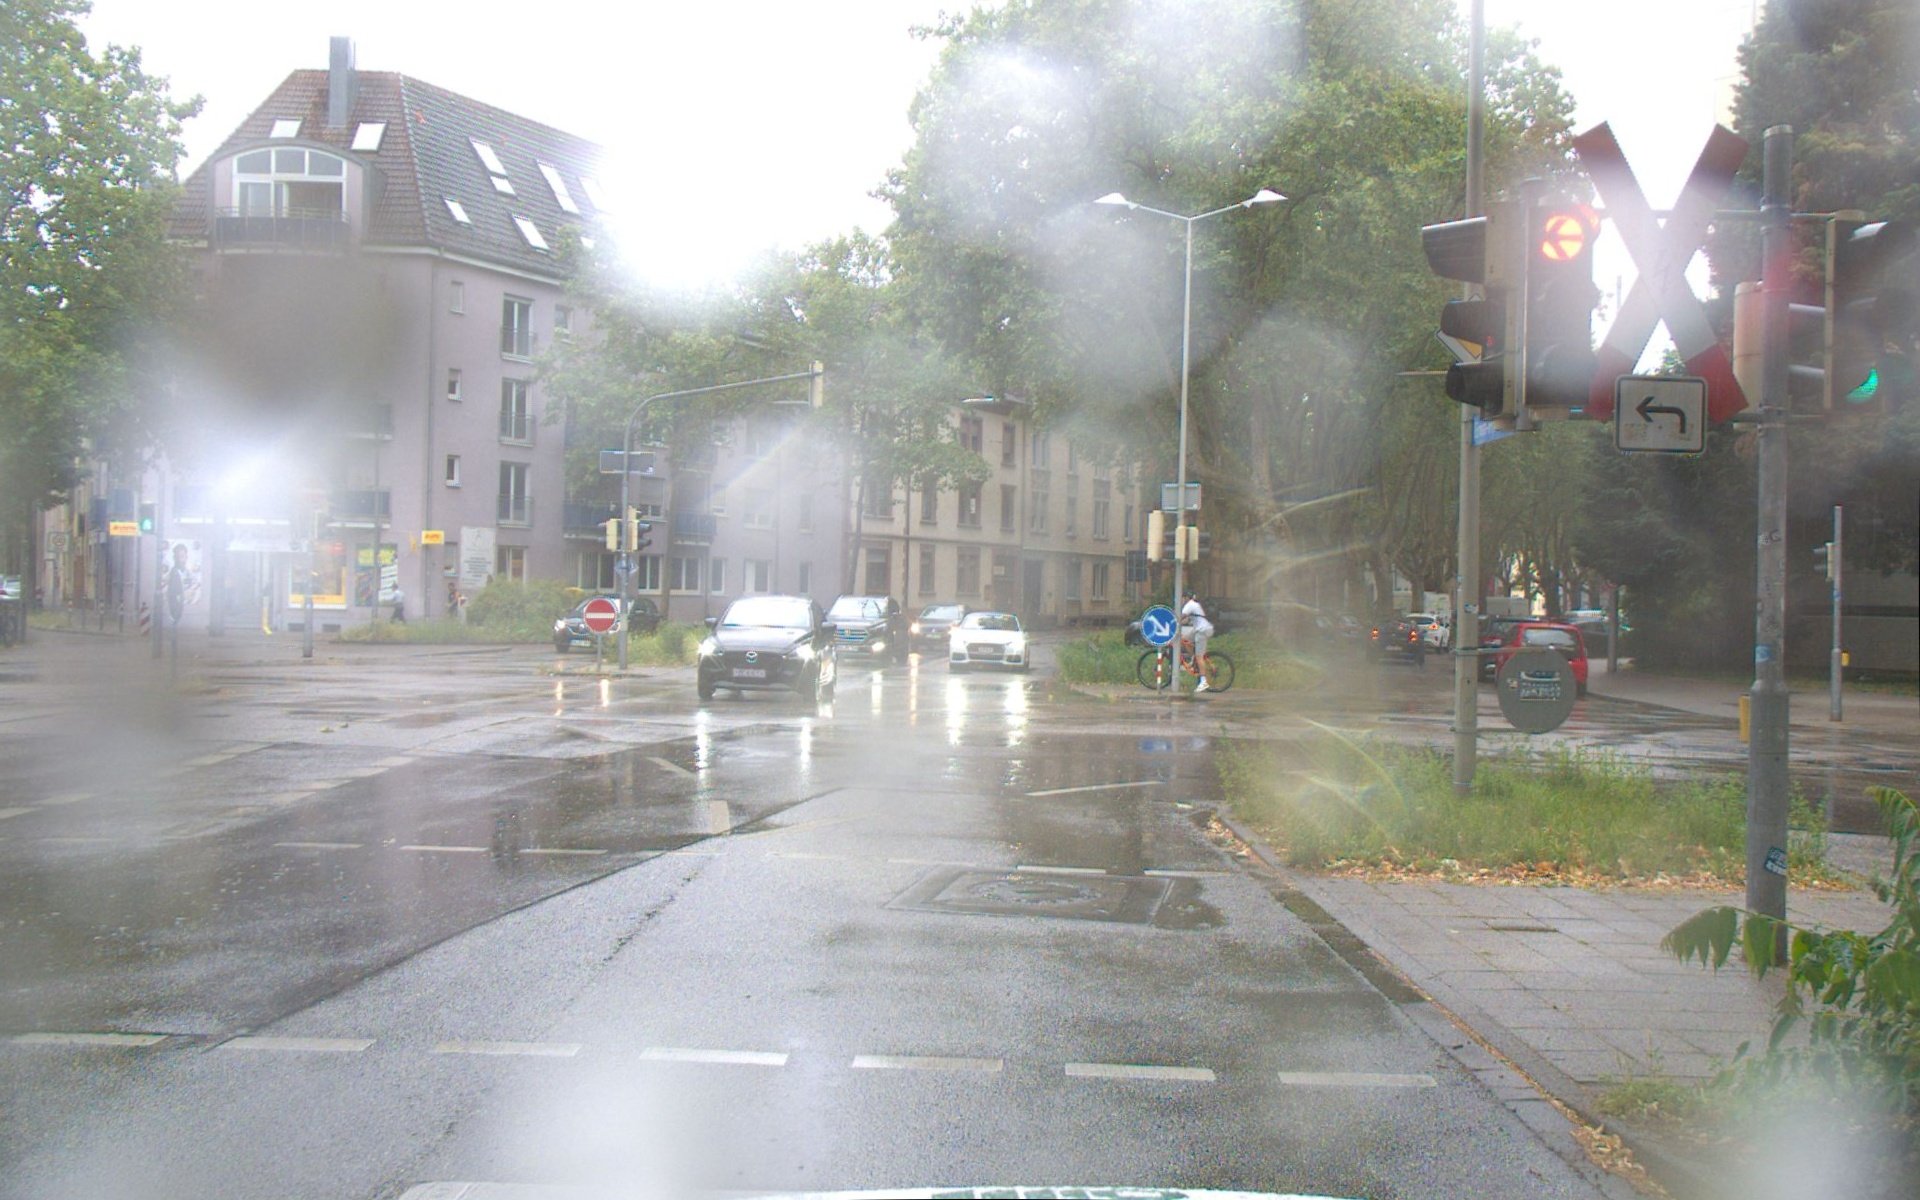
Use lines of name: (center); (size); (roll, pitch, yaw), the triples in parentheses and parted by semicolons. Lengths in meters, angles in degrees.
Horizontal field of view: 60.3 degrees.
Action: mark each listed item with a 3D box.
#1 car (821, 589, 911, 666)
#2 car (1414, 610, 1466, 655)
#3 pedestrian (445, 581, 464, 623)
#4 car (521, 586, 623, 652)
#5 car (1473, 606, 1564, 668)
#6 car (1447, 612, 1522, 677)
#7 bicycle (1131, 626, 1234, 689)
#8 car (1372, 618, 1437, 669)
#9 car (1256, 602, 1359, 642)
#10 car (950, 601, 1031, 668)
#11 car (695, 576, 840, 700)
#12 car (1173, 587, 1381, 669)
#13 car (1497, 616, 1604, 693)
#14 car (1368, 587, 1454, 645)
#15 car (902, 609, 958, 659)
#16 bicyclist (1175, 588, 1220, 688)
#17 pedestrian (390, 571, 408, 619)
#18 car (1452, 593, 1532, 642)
car: (-2.220, 0.621, 40.136); (1.766, 1.712, 4.604); (1, 0, 1)
car: (19.271, 1.285, 66.315); (1.738, 1.707, 4.001); (1, 0, 20)
pedestrian: (-16.249, 0.062, 53.204); (0.439, 1.353, 0.556); (1, -1, -31)
car: (-9.631, 0.439, 41.339); (1.716, 1.538, 3.838); (1, 0, -2)
car: (13.892, 0.875, 41.300); (1.745, 1.371, 3.932); (2, 1, 13)
car: (15.188, 1.256, 48.027); (1.745, 1.757, 4.003); (1, 0, 13)
bicycle: (4.087, 1.047, 30.442); (1.833, 1.100, 0.657); (1, 0, 7)
car: (13.955, 1.341, 51.842); (1.646, 1.500, 3.663); (1, 0, 20)
car: (13.779, 0.859, 65.676); (3.902, 1.512, 2.002); (1, 0, 12)
car: (0.743, 0.786, 39.978); (1.845, 1.461, 4.001); (1, 0, 1)
car: (-2.729, 0.501, 24.276); (1.716, 1.619, 4.233); (1, 0, -2)
car: (6.281, 0.533, 32.787); (3.902, 1.512, 2.002); (1, 0, 12)
car: (13.046, 1.161, 36.730); (1.754, 1.524, 4.003); (1, 0, 13)
car: (23.950, 0.845, 88.063); (2.005, 2.999, 4.742); (1, 0, -21)
car: (-0.971, 1.058, 52.722); (1.679, 1.485, 3.747); (1, 0, -1)
bicyclist: (4.357, 0.692, 30.414); (0.778, 1.817, 0.697); (1, -1, 7)
pedestrian: (-17.728, -0.155, 52.263); (0.436, 1.483, 0.560); (1, -1, -10)
car: (33.666, 1.083, 104.806); (1.974, 2.999, 4.720); (1, 0, -31)
